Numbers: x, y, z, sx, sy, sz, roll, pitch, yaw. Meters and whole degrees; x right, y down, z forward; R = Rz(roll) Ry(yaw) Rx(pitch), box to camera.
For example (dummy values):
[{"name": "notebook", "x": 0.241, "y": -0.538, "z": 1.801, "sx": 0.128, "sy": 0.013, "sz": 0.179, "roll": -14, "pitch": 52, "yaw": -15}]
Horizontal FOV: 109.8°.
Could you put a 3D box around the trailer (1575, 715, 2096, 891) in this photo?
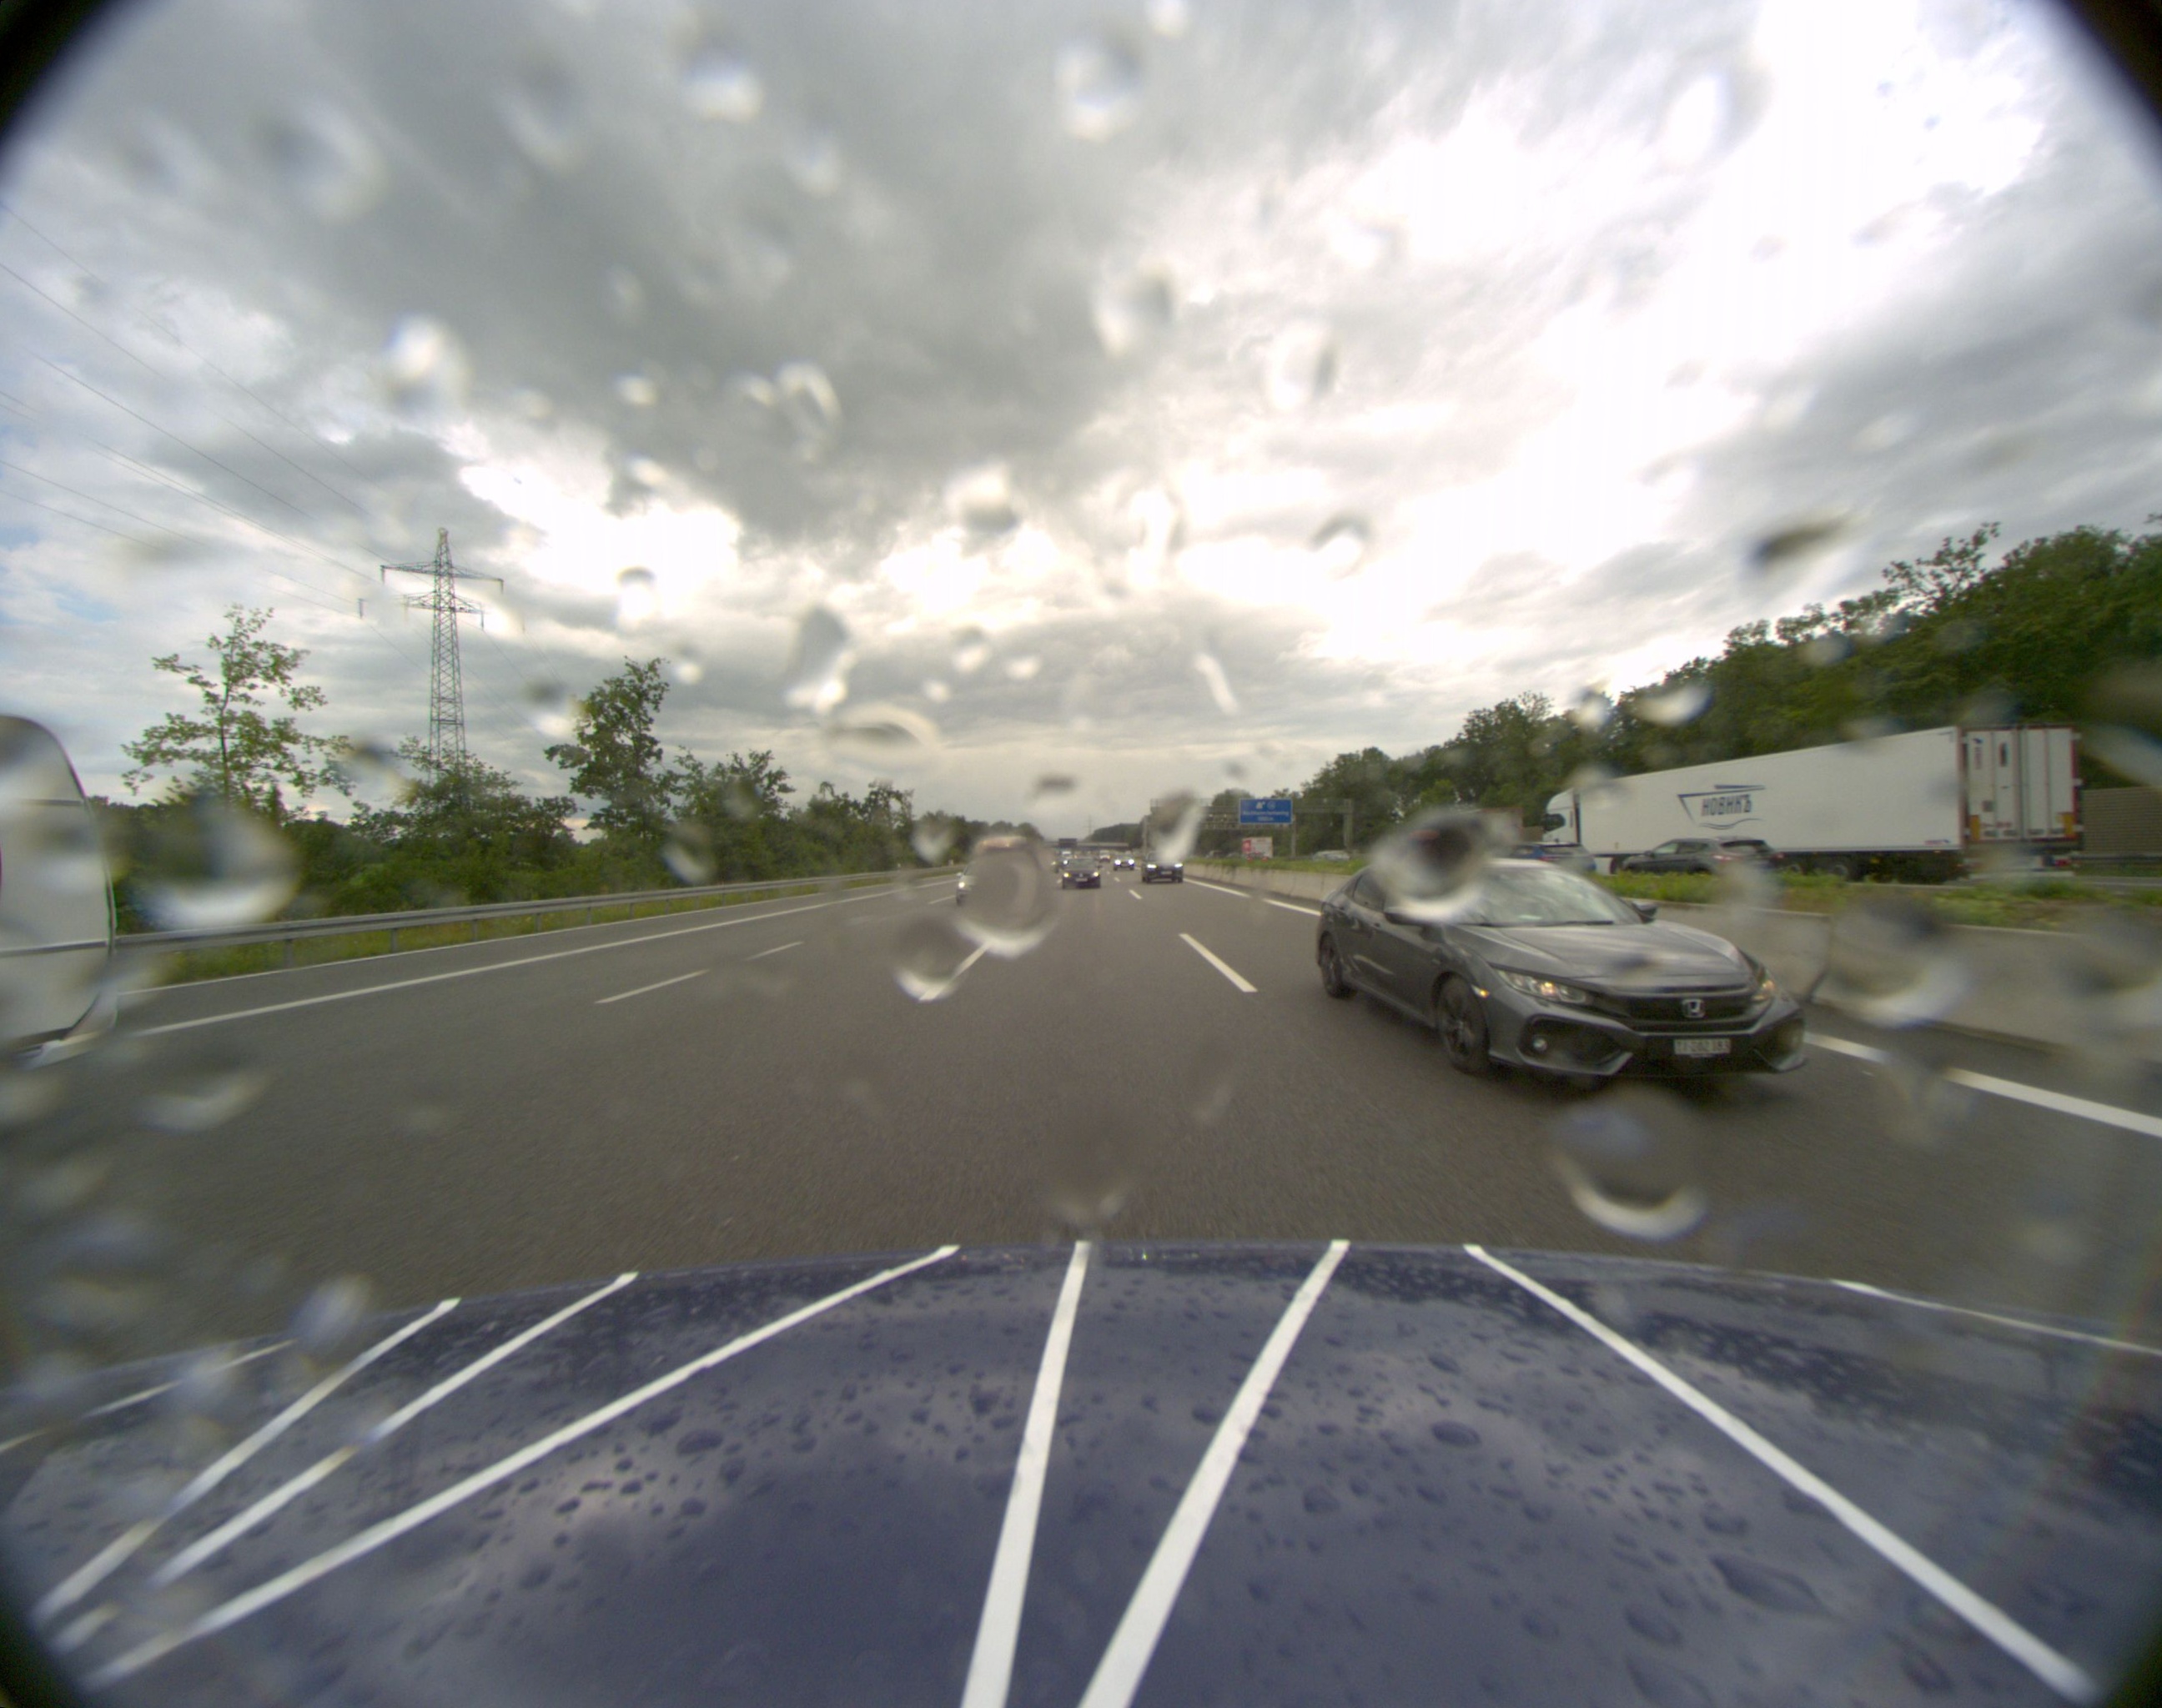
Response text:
[{"name": "trailer", "x": 21.656, "y": -1.213, "z": 24.225, "sx": 2.732, "sy": 3.863, "sz": 14.051, "roll": -2, "pitch": 1, "yaw": 1}]

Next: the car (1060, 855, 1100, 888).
[{"name": "car", "x": 0.013, "y": 0.788, "z": 36.198, "sx": 1.717, "sy": 1.437, "sz": 4.000, "roll": -2, "pitch": 1, "yaw": 2}]

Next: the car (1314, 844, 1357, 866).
[{"name": "car", "x": 19.385, "y": 0.076, "z": 58.147, "sx": 1.770, "sy": 1.528, "sz": 4.582, "roll": -2, "pitch": 1, "yaw": 1}]

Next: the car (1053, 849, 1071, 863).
[{"name": "car", "x": -2.429, "y": 0.212, "z": 97.817, "sx": 1.998, "sy": 1.701, "sz": 4.000, "roll": -2, "pitch": 1, "yaw": 1}]

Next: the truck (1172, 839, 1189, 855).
[{"name": "truck", "x": 26.560, "y": -1.806, "z": 203.457, "sx": 3.202, "sy": 4.005, "sz": 10.842, "roll": -2, "pitch": 1, "yaw": 1}]

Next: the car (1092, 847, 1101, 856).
[{"name": "car", "x": 3.739, "y": -0.641, "z": 185.080, "sx": 1.998, "sy": 2.002, "sz": 4.000, "roll": -2, "pitch": 1, "yaw": 1}]

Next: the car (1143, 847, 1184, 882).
[{"name": "car", "x": 4.327, "y": 0.508, "z": 40.415, "sx": 1.913, "sy": 1.681, "sz": 5.169, "roll": -2, "pitch": 1, "yaw": 3}]

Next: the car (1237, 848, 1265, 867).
[{"name": "car", "x": 14.326, "y": 0.268, "z": 64.135, "sx": 1.592, "sy": 1.528, "sz": 3.548, "roll": -2, "pitch": 1, "yaw": 1}]

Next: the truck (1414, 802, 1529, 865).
[{"name": "truck", "x": 26.564, "y": -1.305, "z": 52.425, "sx": 2.806, "sy": 3.812, "sz": 10.007, "roll": -2, "pitch": 1, "yaw": 1}]

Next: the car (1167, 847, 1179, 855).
[{"name": "car", "x": 19.207, "y": -0.611, "z": 158.729, "sx": 1.998, "sy": 1.528, "sz": 4.000, "roll": -2, "pitch": 1, "yaw": 1}]

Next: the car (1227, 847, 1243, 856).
[{"name": "car", "x": 27.296, "y": -0.490, "z": 134.949, "sx": 1.998, "sy": 1.528, "sz": 4.000, "roll": -2, "pitch": 1, "yaw": 1}]

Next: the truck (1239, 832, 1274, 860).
[{"name": "truck", "x": 18.819, "y": -0.814, "z": 81.756, "sx": 2.335, "sy": 2.812, "sz": 6.248, "roll": -2, "pitch": 1, "yaw": 1}]

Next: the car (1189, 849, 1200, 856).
[{"name": "car", "x": 27.111, "y": -0.334, "z": 181.435, "sx": 1.998, "sy": 1.528, "sz": 4.000, "roll": -2, "pitch": 1, "yaw": 1}]

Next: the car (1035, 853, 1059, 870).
[{"name": "car", "x": -3.072, "y": 0.638, "z": 68.746, "sx": 1.840, "sy": 1.437, "sz": 4.000, "roll": -2, "pitch": 1, "yaw": 2}]

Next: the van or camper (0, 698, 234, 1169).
[{"name": "van or camper", "x": -7.446, "y": 0.517, "z": 1.929, "sx": 2.390, "sy": 2.723, "sz": 7.207, "roll": -2, "pitch": 1, "yaw": 0}]

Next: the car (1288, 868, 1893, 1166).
[{"name": "car", "x": 3.303, "y": 0.888, "z": 6.430, "sx": 1.765, "sy": 1.361, "sz": 5.060, "roll": -2, "pitch": 0, "yaw": 1}]

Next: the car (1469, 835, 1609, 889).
[{"name": "car", "x": 14.638, "y": 0.225, "z": 24.643, "sx": 1.770, "sy": 1.528, "sz": 4.582, "roll": -2, "pitch": 1, "yaw": 1}]

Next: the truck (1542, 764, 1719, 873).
[{"name": "truck", "x": 21.766, "y": -1.304, "z": 30.588, "sx": 2.732, "sy": 3.863, "sz": 6.003, "roll": -2, "pitch": 1, "yaw": 0}]

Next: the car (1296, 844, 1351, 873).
[{"name": "car", "x": 14.368, "y": 0.235, "z": 45.181, "sx": 1.998, "sy": 1.528, "sz": 4.000, "roll": -2, "pitch": 1, "yaw": 1}]

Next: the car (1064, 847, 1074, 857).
[{"name": "car", "x": -2.652, "y": -0.420, "z": 166.299, "sx": 1.998, "sy": 2.002, "sz": 4.000, "roll": -2, "pitch": 1, "yaw": 1}]

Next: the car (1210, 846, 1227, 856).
[{"name": "car", "x": 23.017, "y": -0.454, "z": 127.346, "sx": 1.998, "sy": 1.528, "sz": 4.000, "roll": -2, "pitch": 1, "yaw": 1}]

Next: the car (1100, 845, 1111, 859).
[{"name": "car", "x": 4.573, "y": -0.366, "z": 142.912, "sx": 1.998, "sy": 2.524, "sz": 4.808, "roll": -2, "pitch": 1, "yaw": 1}]

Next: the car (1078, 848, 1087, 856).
[{"name": "car", "x": 0.424, "y": -0.602, "z": 198.589, "sx": 1.998, "sy": 2.002, "sz": 4.000, "roll": -2, "pitch": 1, "yaw": 1}]

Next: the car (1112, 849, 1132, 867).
[{"name": "car", "x": 3.934, "y": 0.337, "z": 72.765, "sx": 1.840, "sy": 1.615, "sz": 4.915, "roll": -2, "pitch": 1, "yaw": 4}]

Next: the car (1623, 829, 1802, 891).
[{"name": "car", "x": 17.748, "y": 0.128, "z": 21.628, "sx": 1.763, "sy": 1.528, "sz": 4.000, "roll": -2, "pitch": 1, "yaw": 1}]

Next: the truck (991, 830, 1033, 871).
[{"name": "truck", "x": -6.646, "y": -0.368, "z": 75.059, "sx": 2.869, "sy": 3.633, "sz": 9.594, "roll": -2, "pitch": 1, "yaw": 2}]

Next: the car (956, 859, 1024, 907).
[{"name": "car", "x": -3.028, "y": 0.928, "z": 26.021, "sx": 1.683, "sy": 1.437, "sz": 4.000, "roll": -2, "pitch": 1, "yaw": 2}]
